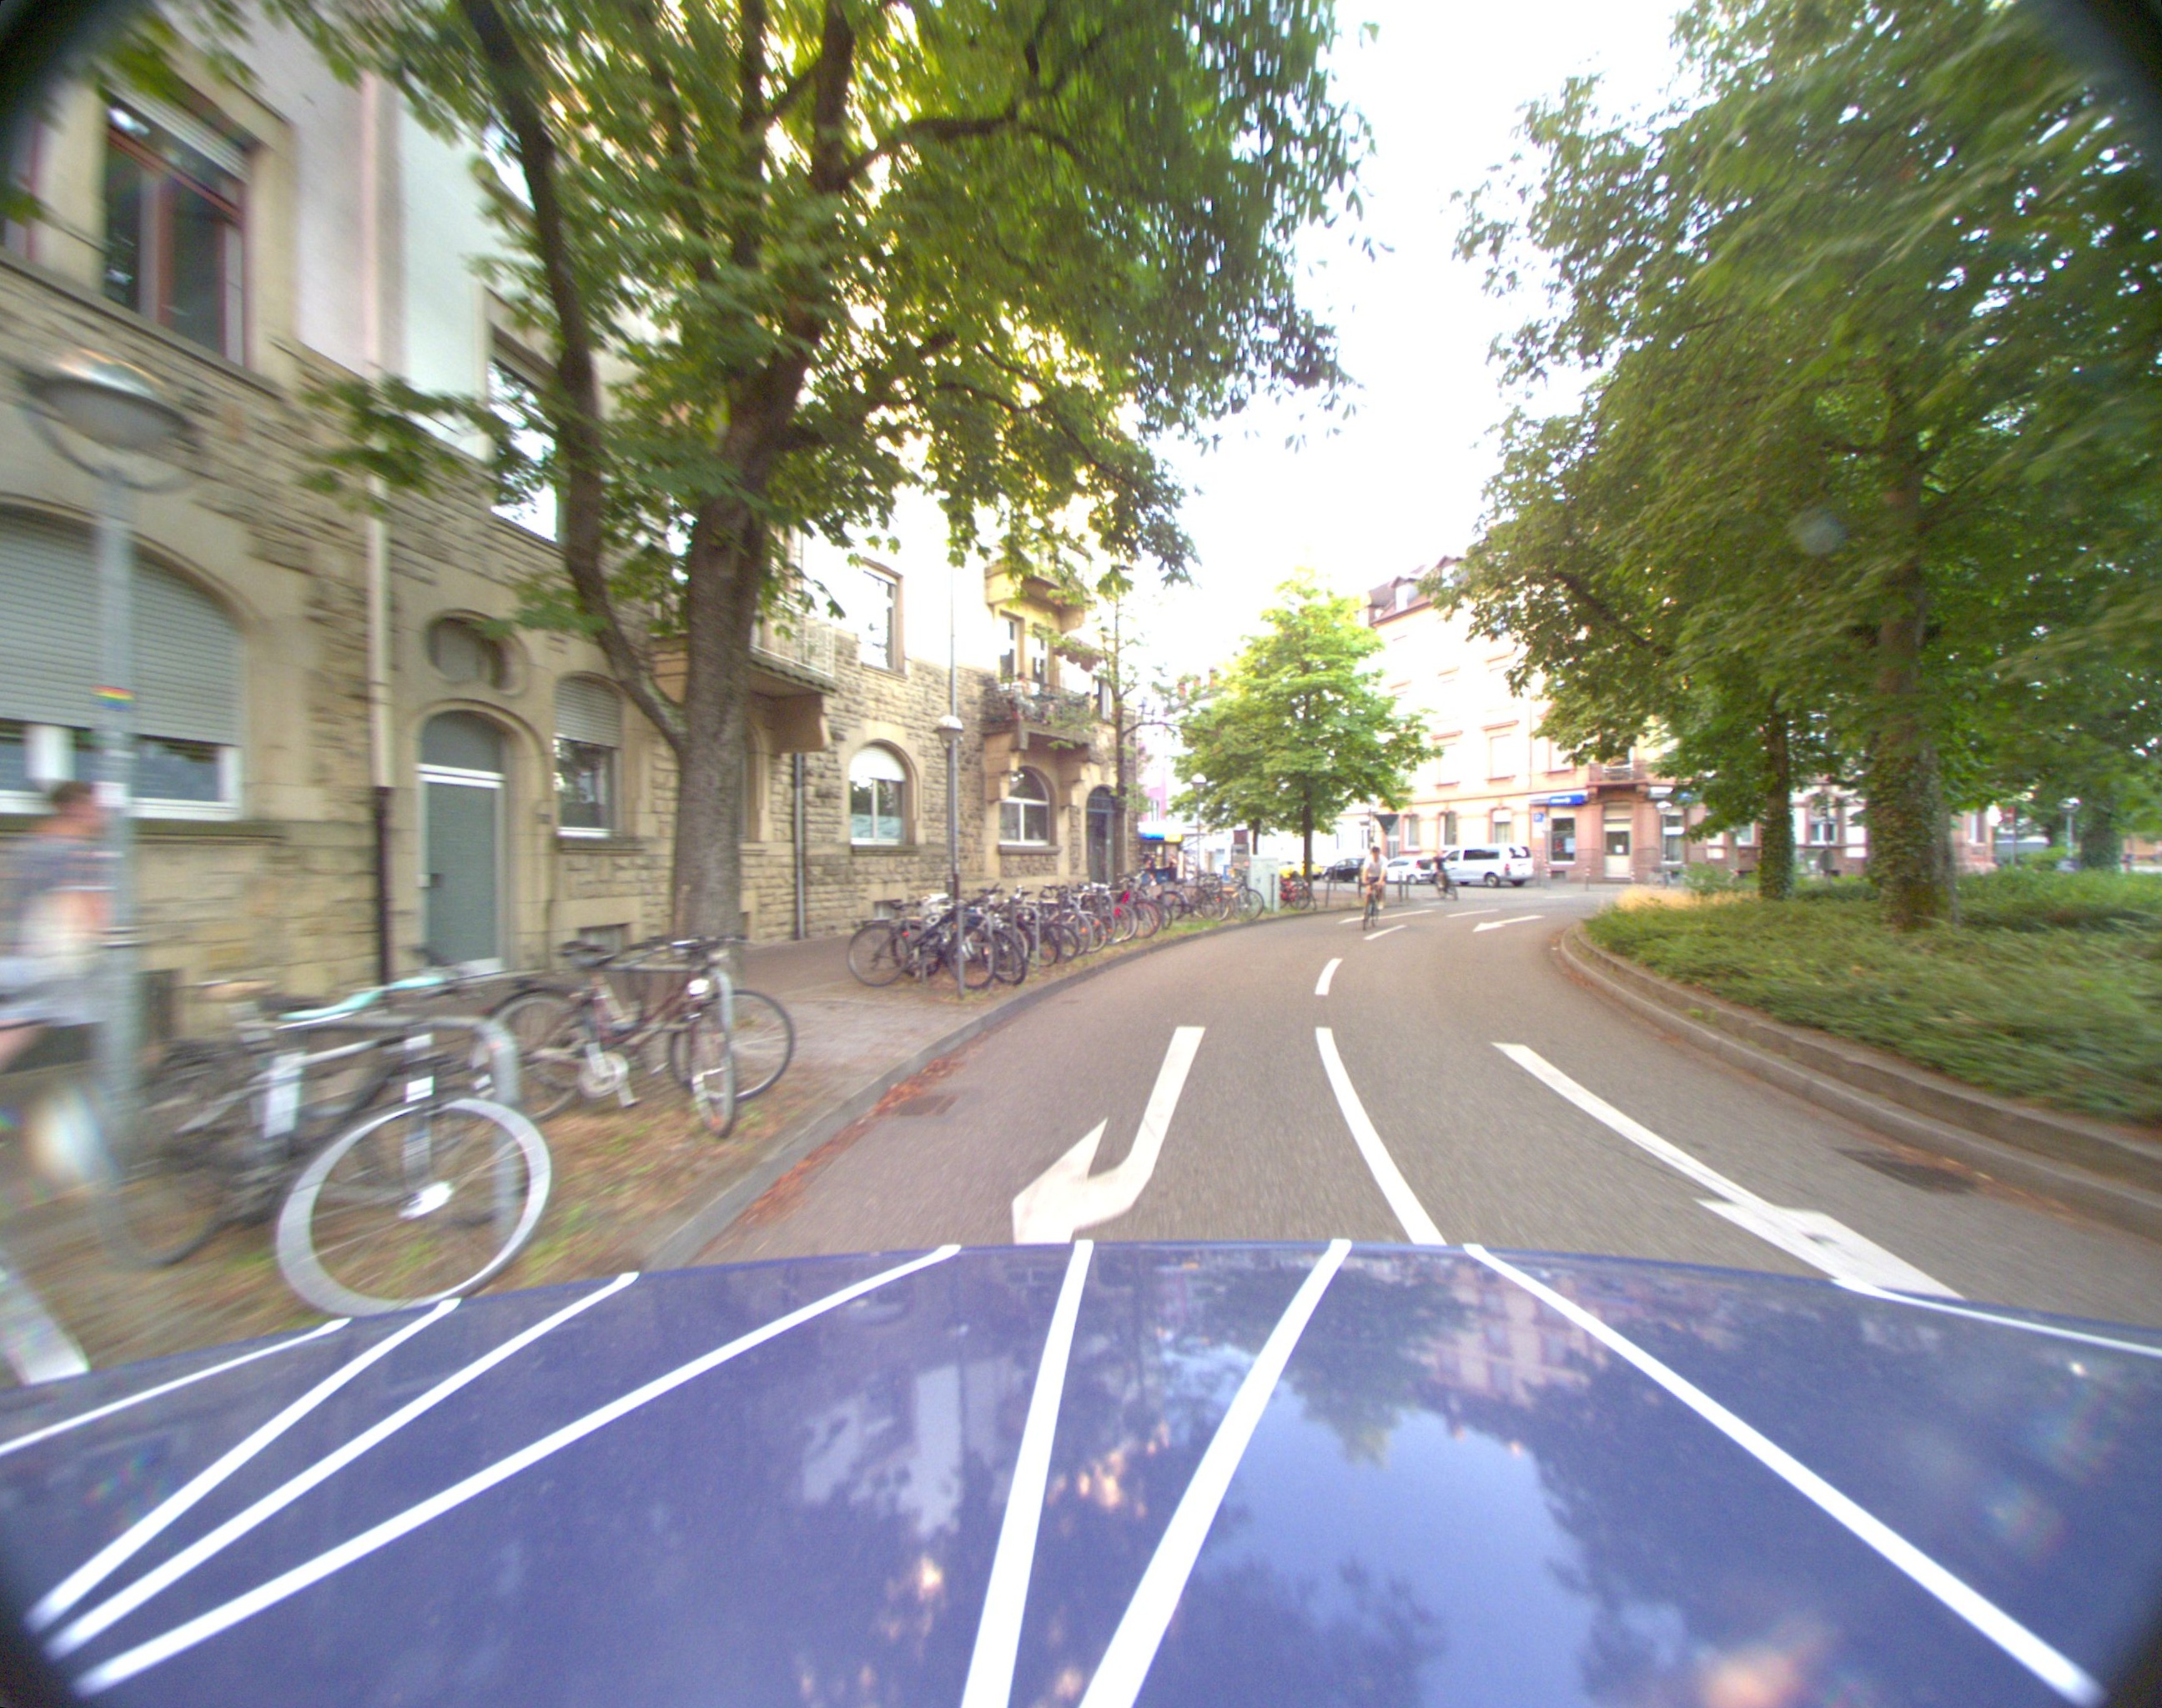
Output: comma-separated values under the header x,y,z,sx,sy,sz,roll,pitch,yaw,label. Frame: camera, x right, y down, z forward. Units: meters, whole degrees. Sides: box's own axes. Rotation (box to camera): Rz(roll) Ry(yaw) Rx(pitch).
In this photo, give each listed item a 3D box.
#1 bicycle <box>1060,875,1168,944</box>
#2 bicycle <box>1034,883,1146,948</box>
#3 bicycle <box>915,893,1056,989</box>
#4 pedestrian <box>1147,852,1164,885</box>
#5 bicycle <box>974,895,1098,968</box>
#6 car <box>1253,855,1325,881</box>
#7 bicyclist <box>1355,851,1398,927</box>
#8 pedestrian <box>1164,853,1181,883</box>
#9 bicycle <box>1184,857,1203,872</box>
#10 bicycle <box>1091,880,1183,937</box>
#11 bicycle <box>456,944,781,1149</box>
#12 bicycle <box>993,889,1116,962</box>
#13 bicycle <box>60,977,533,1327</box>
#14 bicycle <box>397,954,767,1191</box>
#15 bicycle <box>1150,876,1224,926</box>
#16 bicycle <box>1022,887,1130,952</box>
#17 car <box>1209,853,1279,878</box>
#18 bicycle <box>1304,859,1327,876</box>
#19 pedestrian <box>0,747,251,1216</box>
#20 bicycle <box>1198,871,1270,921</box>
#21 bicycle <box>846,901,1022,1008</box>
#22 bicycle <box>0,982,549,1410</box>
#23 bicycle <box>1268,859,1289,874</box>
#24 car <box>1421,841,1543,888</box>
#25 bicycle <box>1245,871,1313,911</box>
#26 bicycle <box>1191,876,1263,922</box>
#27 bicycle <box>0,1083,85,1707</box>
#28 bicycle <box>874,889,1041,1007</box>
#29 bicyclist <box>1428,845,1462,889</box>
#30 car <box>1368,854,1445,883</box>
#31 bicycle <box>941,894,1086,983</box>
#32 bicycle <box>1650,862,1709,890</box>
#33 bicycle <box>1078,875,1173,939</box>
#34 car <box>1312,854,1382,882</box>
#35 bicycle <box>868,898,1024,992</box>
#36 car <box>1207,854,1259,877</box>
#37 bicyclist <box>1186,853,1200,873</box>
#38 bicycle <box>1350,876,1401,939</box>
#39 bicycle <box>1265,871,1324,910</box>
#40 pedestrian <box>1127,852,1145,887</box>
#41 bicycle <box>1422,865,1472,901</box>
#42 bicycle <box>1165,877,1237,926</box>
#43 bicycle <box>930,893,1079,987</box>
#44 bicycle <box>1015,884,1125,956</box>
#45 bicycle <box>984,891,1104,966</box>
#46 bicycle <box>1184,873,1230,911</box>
x,y,z,sx,sy,sz,roll,pitch,yaw,label
0.597,1.002,14.067,1.916,1.193,0.553,0,1,24,bicycle
0.158,1.067,13.464,1.916,1.058,0.553,0,1,24,bicycle
-1.264,1.103,9.932,1.851,1.138,0.419,0,1,23,bicycle
3.723,0.705,38.099,0.589,1.627,0.680,0,1,37,pedestrian
-0.690,1.141,11.435,1.851,0.994,0.419,0,1,23,bicycle
13.544,0.894,49.786,1.847,1.517,4.792,-3,1,-25,car
6.082,0.701,15.611,0.684,1.503,0.975,0,0,29,bicyclist
4.627,0.696,38.279,0.589,1.530,0.680,0,1,37,pedestrian
8.489,0.800,57.413,0.686,1.088,1.805,0,0,-20,bicycle
1.102,1.061,15.090,1.792,1.057,0.448,0,1,26,bicycle
-2.715,1.103,4.521,1.673,1.072,0.486,0,1,5,bicycle
-0.438,1.116,12.173,1.916,1.055,0.536,0,1,24,bicycle
-3.097,1.090,3.018,1.672,1.072,0.487,0,1,12,bicycle
-2.579,1.099,3.991,1.673,1.072,0.486,0,1,5,bicycle
2.394,1.046,17.224,1.603,1.069,0.420,0,1,30,bicycle
-0.094,1.098,12.972,1.850,1.008,0.420,0,1,27,bicycle
10.438,0.716,49.051,2.002,1.508,4.831,0,0,-23,car
16.147,0.944,52.353,0.481,1.133,1.860,0,0,-21,bicycle
-5.219,0.566,3.784,1.012,2.073,1.061,1,0,8,pedestrian
3.705,0.986,18.436,1.603,1.141,0.556,0,1,34,bicycle
-1.647,1.117,8.540,1.882,1.132,0.493,-2,-4,9,bicycle
-2.802,1.057,2.649,1.672,1.120,0.487,0,-6,13,bicycle
14.578,0.921,56.178,0.481,1.133,1.860,0,0,-21,bicycle
19.110,0.474,36.514,2.049,2.045,4.995,-2,1,-22,car
5.513,1.016,21.251,0.433,1.033,1.893,-1,1,-44,bicycle
3.458,1.059,18.069,1.603,1.014,0.556,0,1,34,bicycle
-3.007,1.049,1.291,1.889,1.156,0.705,0,1,6,bicycle
-1.460,1.065,8.935,1.880,1.211,0.492,0,6,23,bicycle
12.509,0.442,26.107,0.686,1.503,0.973,-1,0,-1,bicyclist
17.534,0.757,41.091,1.691,1.483,3.606,-2,1,-23,car
-0.935,1.146,10.533,1.851,1.088,0.418,0,20,23,bicycle
24.156,0.868,30.694,0.561,1.076,1.793,-2,1,-35,bicycle
0.855,1.005,14.759,1.792,1.161,0.448,0,1,26,bicycle
15.635,0.801,44.792,1.737,1.483,3.734,-2,1,-26,car
-1.662,1.122,9.531,1.854,1.098,0.574,0,1,-1,bicycle
11.088,0.834,55.738,1.807,1.583,4.138,-3,1,-21,car
8.484,0.693,57.425,0.679,1.536,0.873,0,0,-21,bicyclist
6.038,1.051,15.515,0.684,1.144,2.119,-1,0,28,bicycle
5.970,1.004,21.312,0.433,1.033,1.603,-1,1,-44,bicycle
2.635,0.739,36.401,0.679,1.627,0.590,0,0,-22,pedestrian
12.513,0.965,26.045,0.686,1.144,2.115,-1,0,0,bicycle
2.748,1.068,17.457,1.603,1.057,0.420,0,1,30,bicycle
-1.032,1.144,10.273,1.851,1.126,0.418,0,20,23,bicycle
-0.204,1.071,12.664,1.850,1.110,0.420,0,1,27,bicycle
-0.583,1.125,11.706,1.851,1.045,0.419,0,1,23,bicycle
3.514,1.035,21.071,0.431,0.963,1.730,0,0,40,bicycle
